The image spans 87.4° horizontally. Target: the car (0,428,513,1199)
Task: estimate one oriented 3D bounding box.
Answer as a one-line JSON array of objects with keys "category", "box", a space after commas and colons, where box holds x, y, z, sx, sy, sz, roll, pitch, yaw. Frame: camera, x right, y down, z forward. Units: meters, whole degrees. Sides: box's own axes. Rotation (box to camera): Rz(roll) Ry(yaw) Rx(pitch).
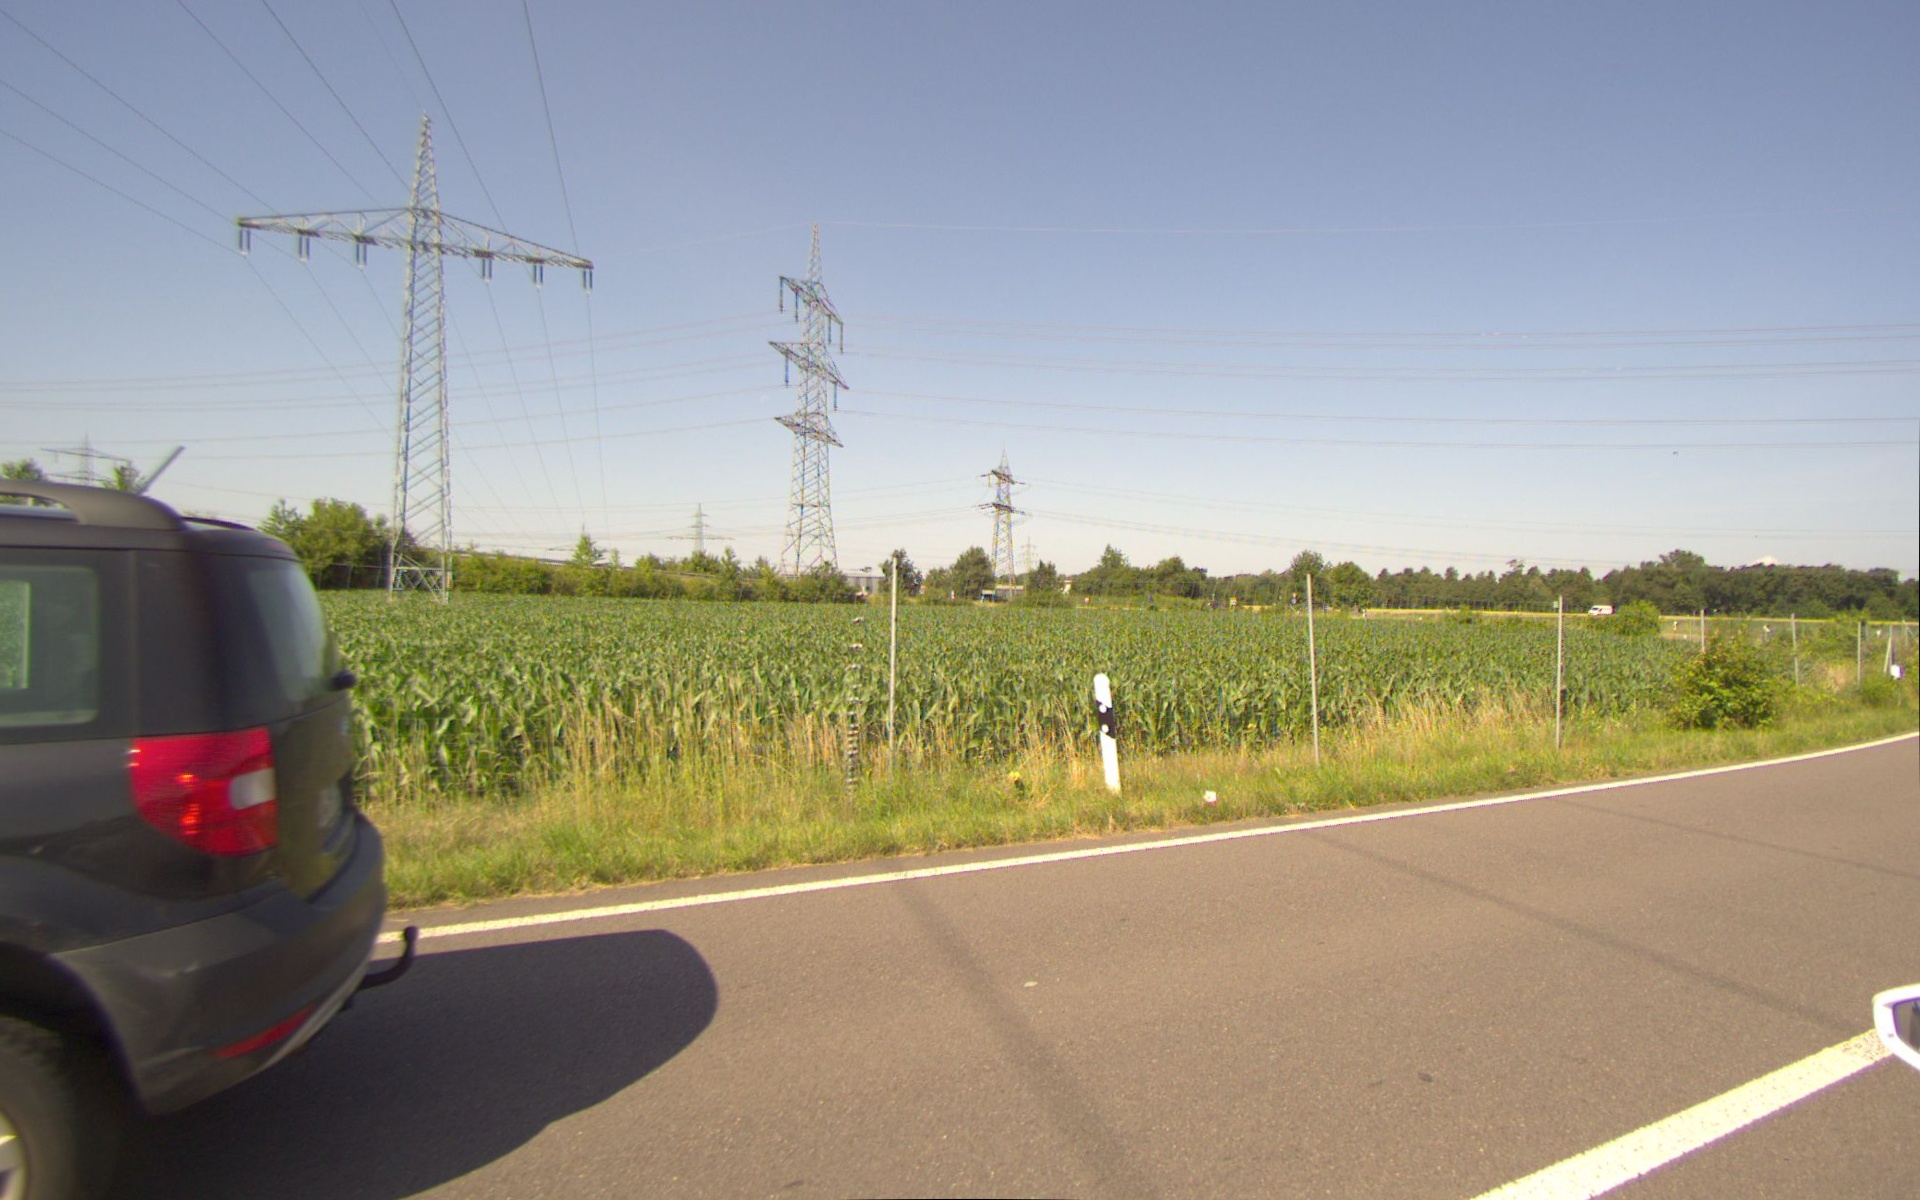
[{"category": "car", "box": [-3.352, 0.510, 2.230, 4.206, 1.729, 1.976, 2, -1, -27]}]
